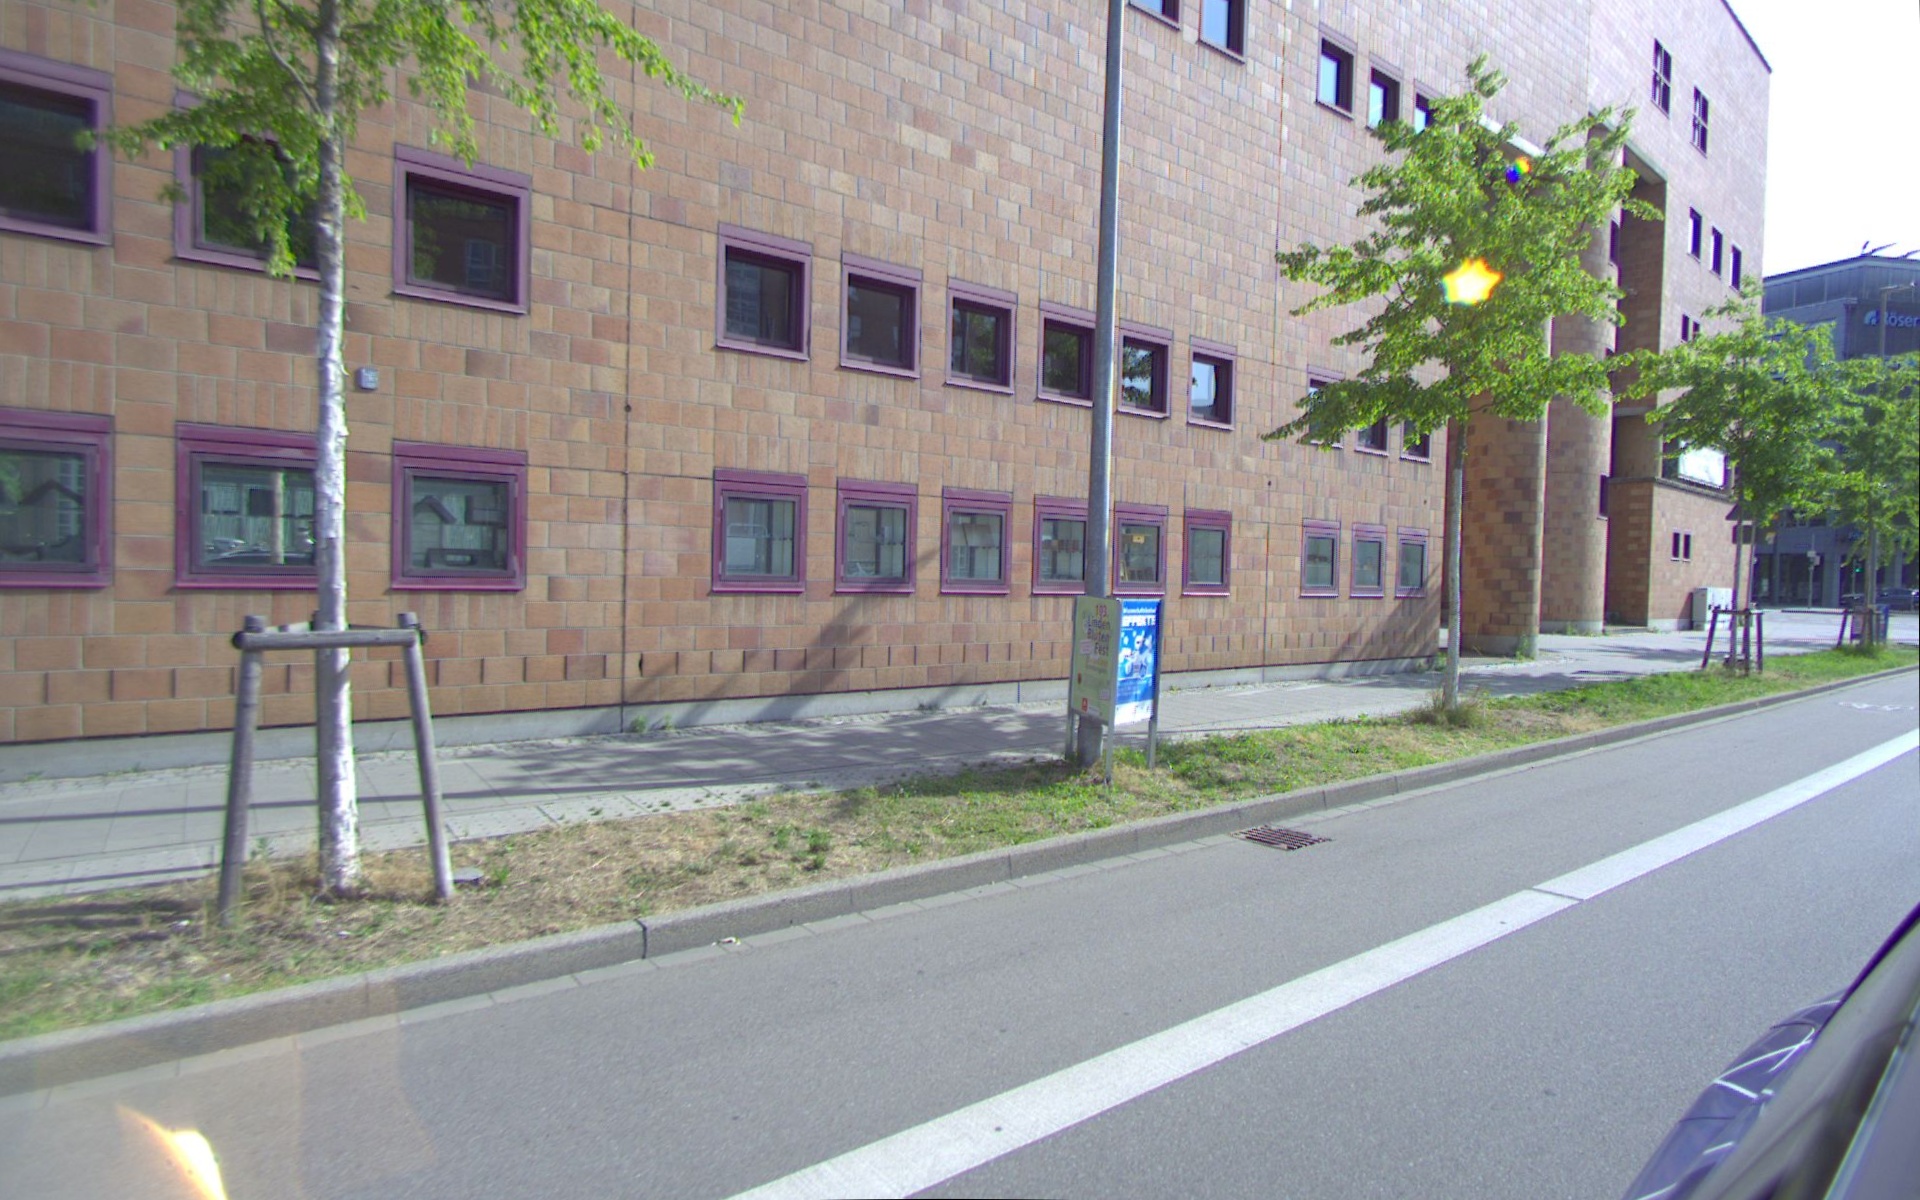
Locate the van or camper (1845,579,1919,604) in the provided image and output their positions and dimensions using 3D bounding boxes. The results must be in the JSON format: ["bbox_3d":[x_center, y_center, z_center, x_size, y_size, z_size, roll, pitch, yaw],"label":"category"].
[{"bbox_3d":[60.243,-0.523,65.348,4.158,1.459,1.989,2,2,18],"label":"van or camper"}]
